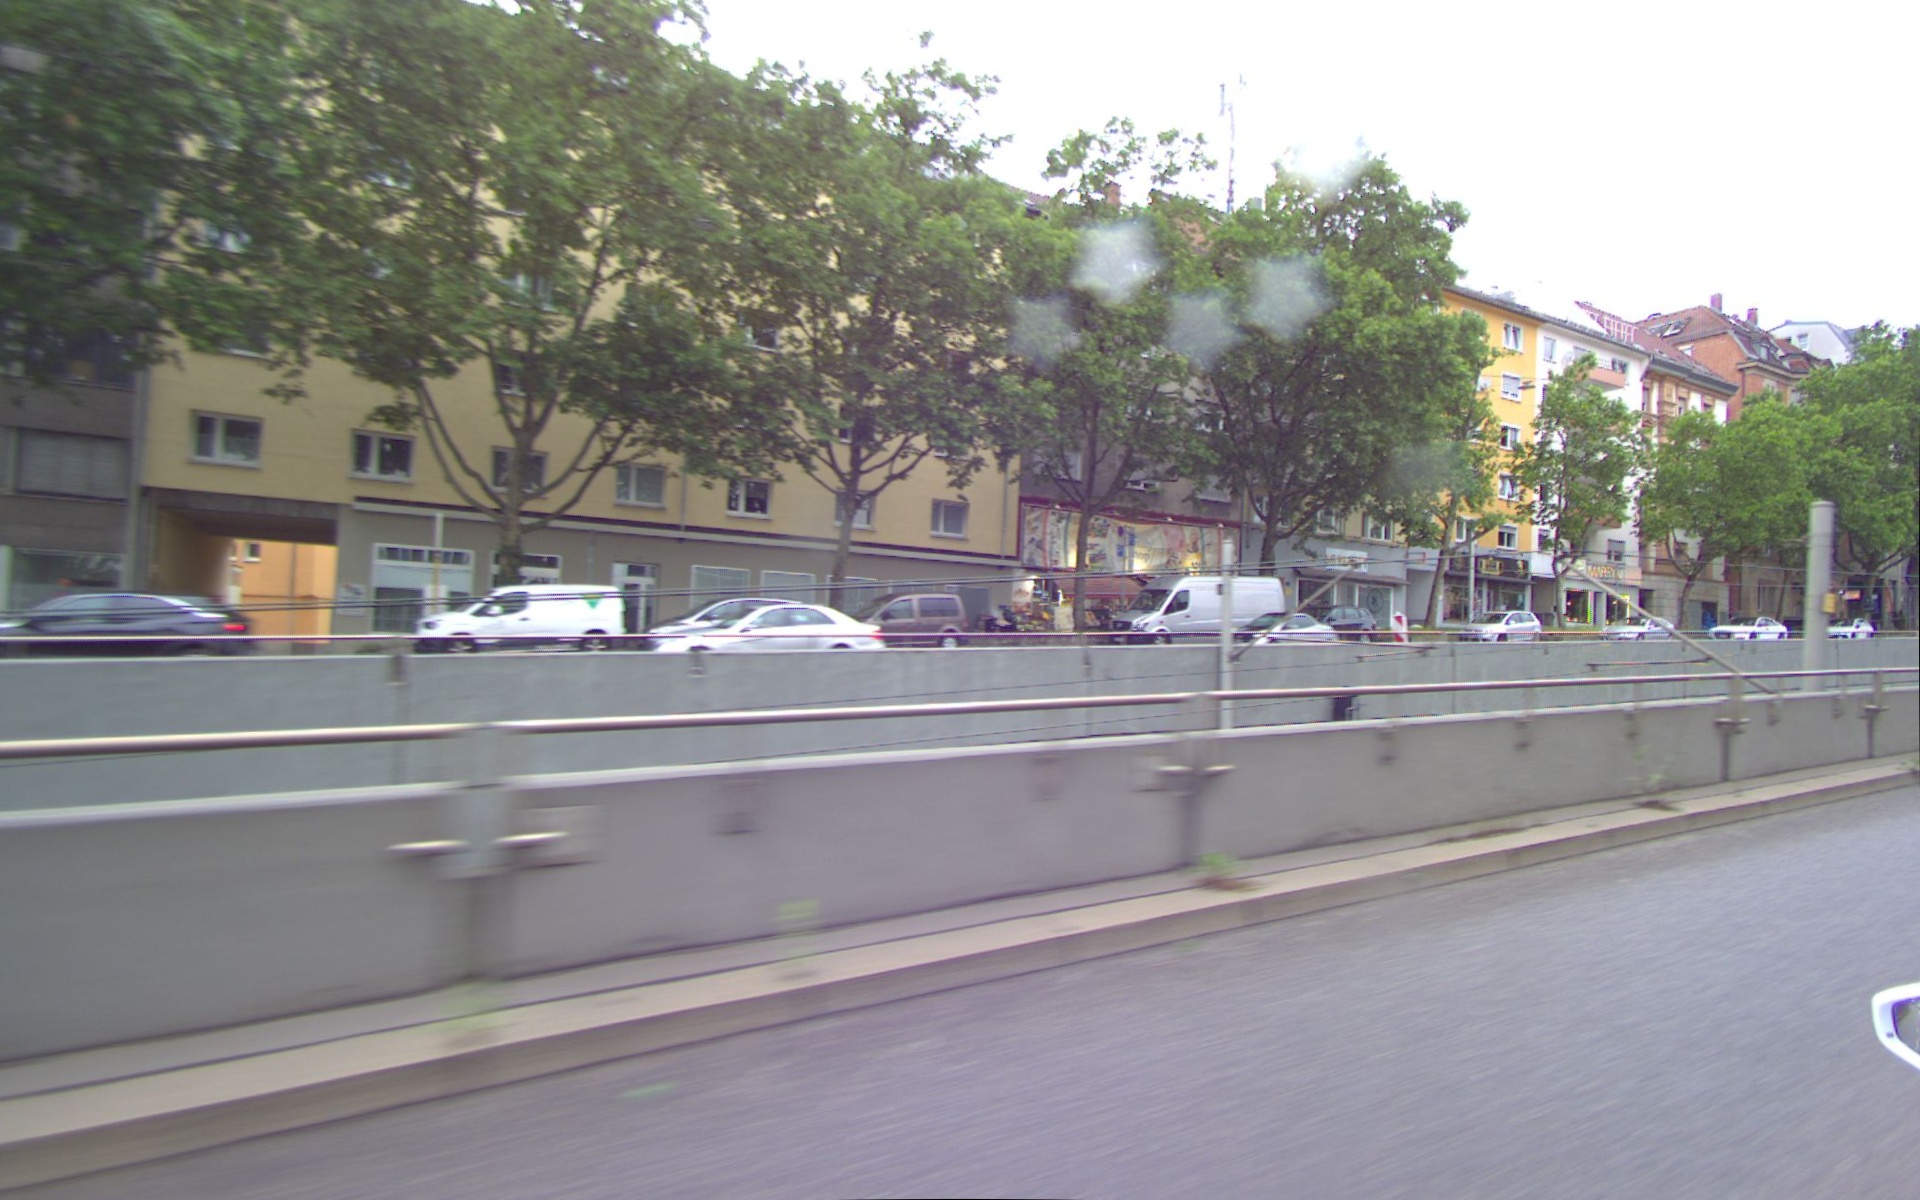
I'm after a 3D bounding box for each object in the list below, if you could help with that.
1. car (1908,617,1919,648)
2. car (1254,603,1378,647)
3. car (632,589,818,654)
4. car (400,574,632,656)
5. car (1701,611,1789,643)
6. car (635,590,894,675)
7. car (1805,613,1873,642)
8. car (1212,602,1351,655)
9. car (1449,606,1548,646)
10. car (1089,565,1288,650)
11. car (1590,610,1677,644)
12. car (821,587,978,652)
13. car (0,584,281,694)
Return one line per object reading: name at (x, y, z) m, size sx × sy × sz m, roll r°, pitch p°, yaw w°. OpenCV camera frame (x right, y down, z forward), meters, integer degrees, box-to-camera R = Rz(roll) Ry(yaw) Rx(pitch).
car at (49.682, 1.637, 50.179) m, size 4.824 × 1.530 × 2.017 m, roll 1°, pitch 0°, yaw -29°
car at (13.299, 0.940, 37.501) m, size 4.616 × 1.530 × 1.786 m, roll 1°, pitch 0°, yaw -30°
car at (-6.167, 0.551, 26.511) m, size 4.422 × 1.604 × 1.867 m, roll 1°, pitch 0°, yaw -31°
car at (-10.577, 0.362, 24.075) m, size 4.850 × 1.788 × 1.865 m, roll 1°, pitch 0°, yaw -34°
car at (41.680, 1.429, 53.321) m, size 5.138 × 1.622 × 1.918 m, roll 1°, pitch 0°, yaw -30°
car at (-3.874, 0.616, 20.113) m, size 4.763 × 1.530 × 1.838 m, roll 1°, pitch 0°, yaw -29°
car at (51.298, 1.602, 58.616) m, size 4.064 × 1.633 × 1.785 m, roll 1°, pitch 0°, yaw -31°
car at (9.965, 0.867, 31.086) m, size 3.966 × 1.530 × 1.839 m, roll 1°, pitch 0°, yaw -28°
car at (23.233, 1.116, 43.315) m, size 4.157 × 1.592 × 1.786 m, roll 1°, pitch 0°, yaw -30°
car at (7.928, 0.267, 34.618) m, size 6.849 × 2.698 × 2.441 m, roll 1°, pitch 0°, yaw -30°
car at (32.227, 1.288, 48.041) m, size 4.157 × 1.530 × 1.786 m, roll 1°, pitch 0°, yaw -30°
car at (-1.707, 0.546, 28.845) m, size 4.159 × 1.752 × 1.784 m, roll 1°, pitch 0°, yaw -32°
car at (-13.019, 0.578, 15.234) m, size 4.292 × 1.530 × 1.786 m, roll 2°, pitch -1°, yaw -29°
